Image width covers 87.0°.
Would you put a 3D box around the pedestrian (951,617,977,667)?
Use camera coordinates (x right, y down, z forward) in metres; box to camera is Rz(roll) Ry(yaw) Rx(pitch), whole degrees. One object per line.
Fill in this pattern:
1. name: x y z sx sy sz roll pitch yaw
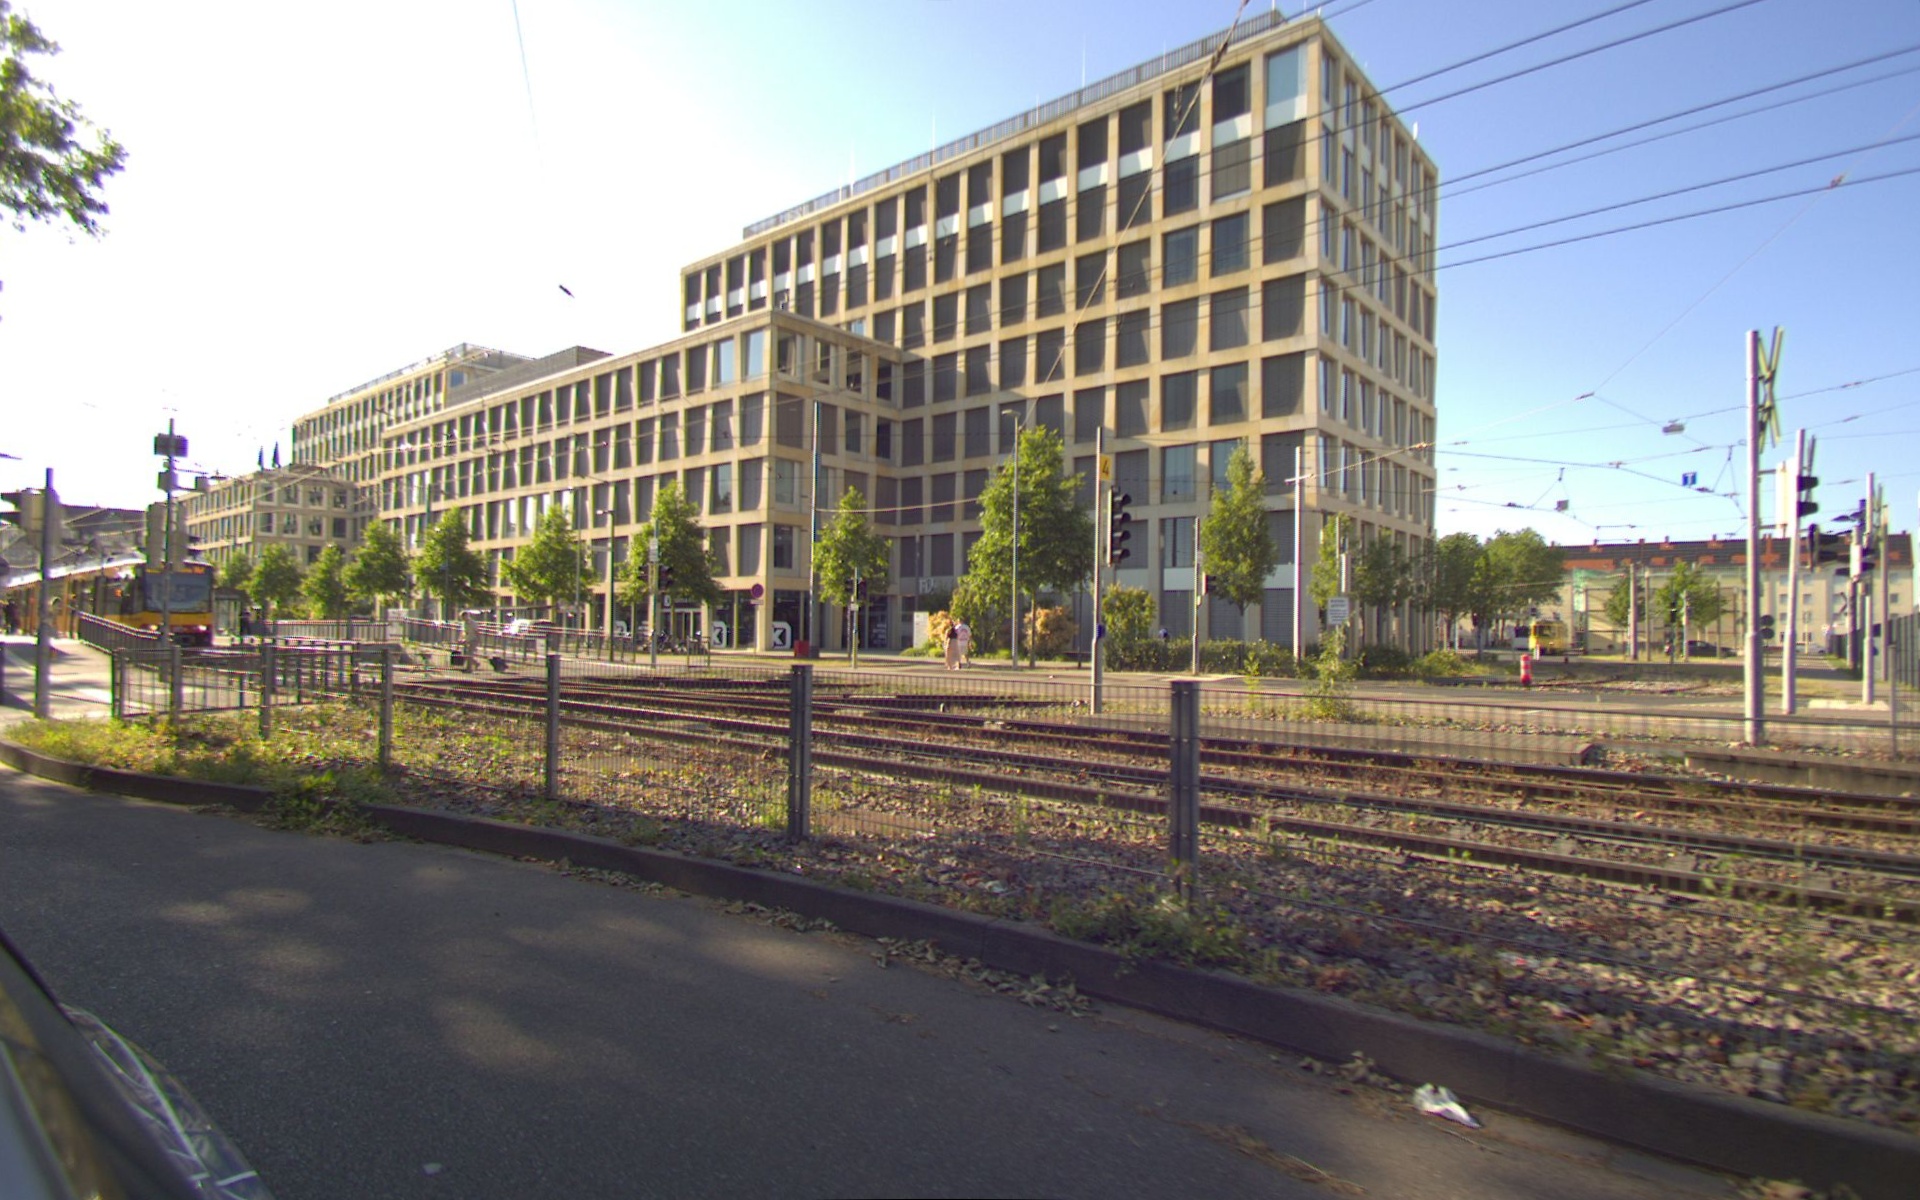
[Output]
1. pedestrian: 0.148 1.481 35.878 0.670 1.730 0.657 -1 -2 39

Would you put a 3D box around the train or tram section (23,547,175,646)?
1. train or tram section: -38.064 -0.035 44.521 11.836 3.858 3.275 -1 -2 41

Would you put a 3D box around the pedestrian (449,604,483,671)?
1. pedestrian: -13.040 0.989 26.724 0.660 1.730 0.726 1 -2 -37

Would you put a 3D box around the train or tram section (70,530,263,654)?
1. train or tram section: -29.011 -0.161 36.672 11.836 3.858 3.275 -1 -2 41

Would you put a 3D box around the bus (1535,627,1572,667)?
1. bus: 51.521 3.990 87.779 1.908 3.164 7.607 0 0 36

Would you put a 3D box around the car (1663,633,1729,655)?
1. car: 56.670 3.354 77.915 3.998 1.559 1.722 0 -1 41

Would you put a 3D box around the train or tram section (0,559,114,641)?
1. train or tram section: -48.066 0.096 53.182 14.211 3.858 3.275 -1 -2 41

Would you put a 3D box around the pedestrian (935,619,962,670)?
1. pedestrian: -0.393 1.531 35.041 0.670 1.730 0.657 -1 -2 39
